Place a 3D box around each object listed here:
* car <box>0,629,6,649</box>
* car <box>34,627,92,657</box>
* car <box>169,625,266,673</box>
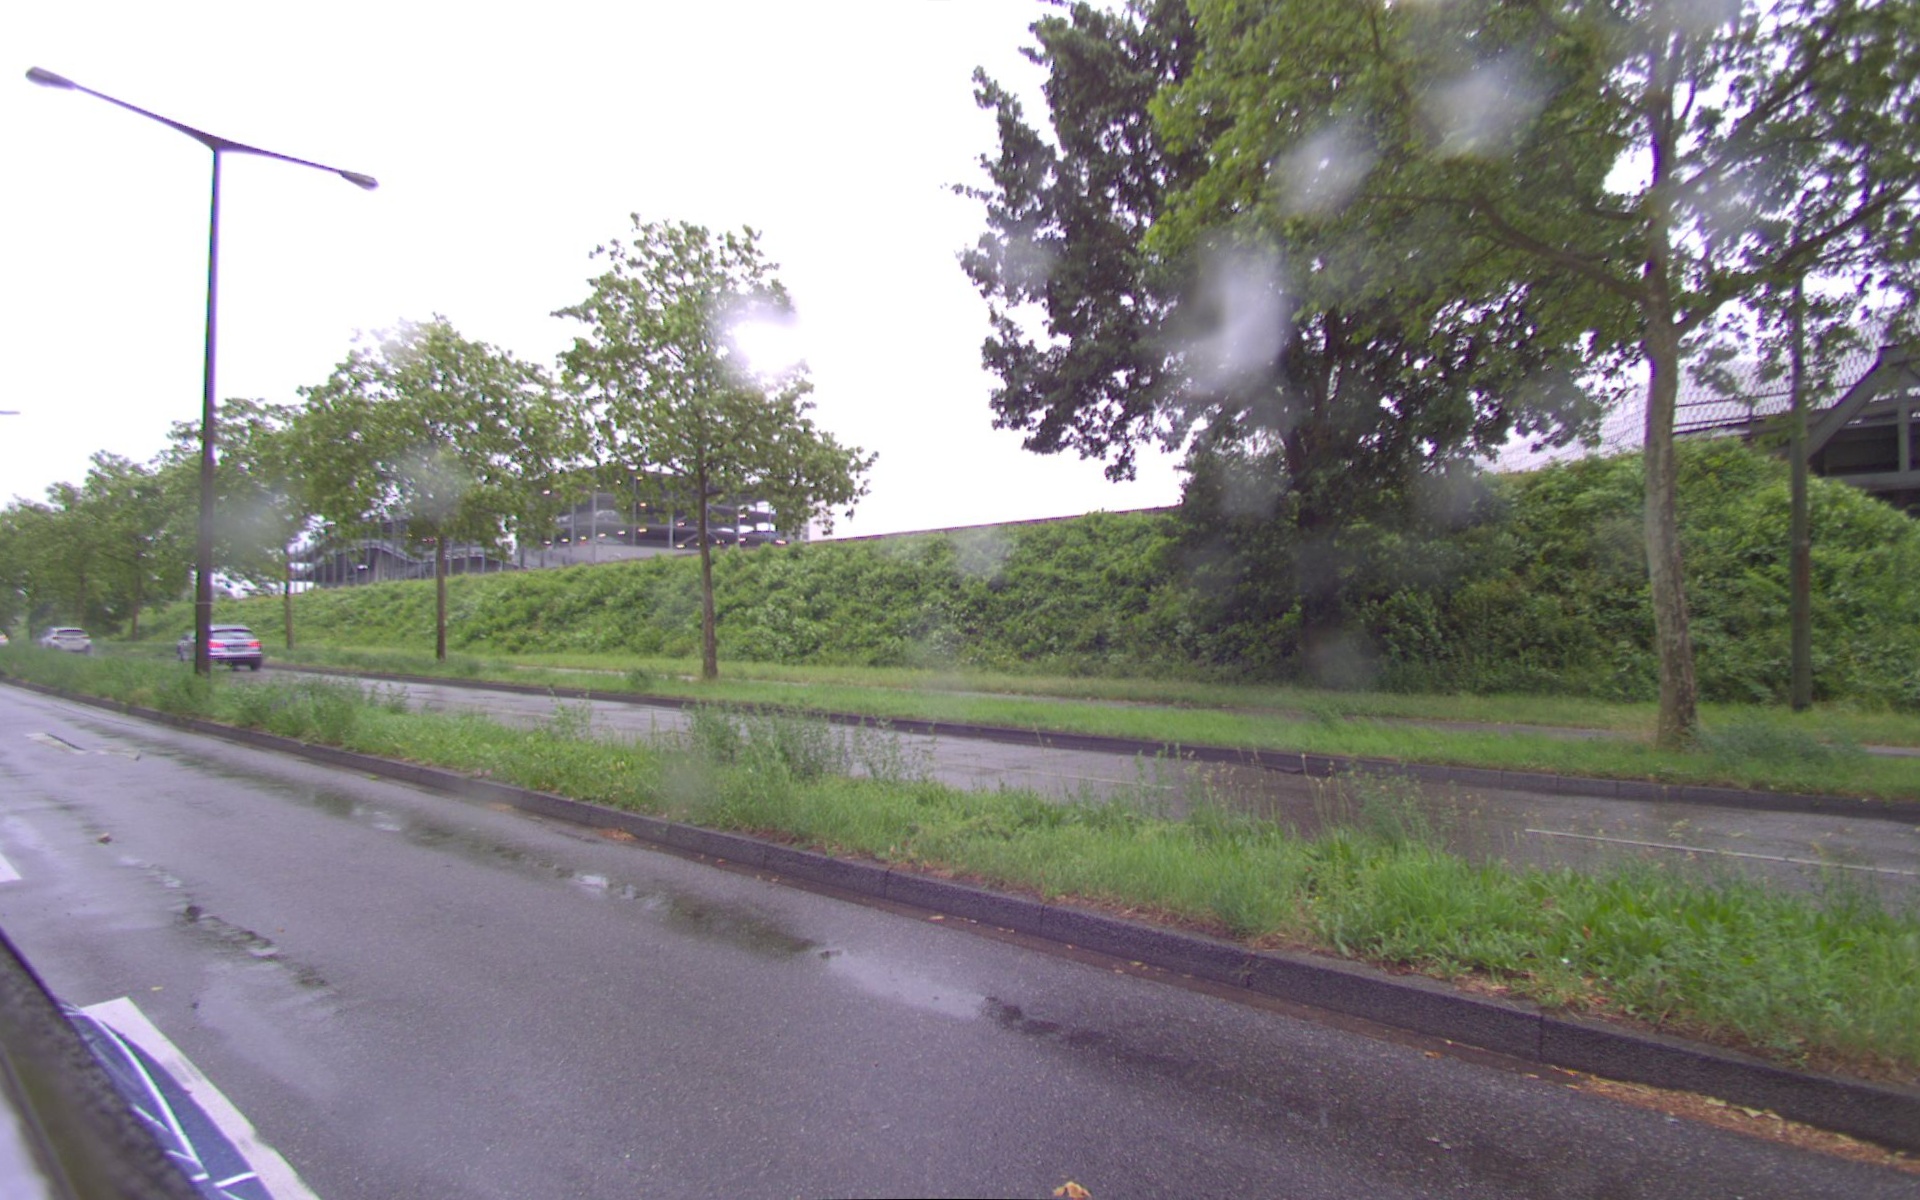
[{"bbox_3d":[-73.436,2.949,76.174,4.654,1.456,1.911,-2,-2,41],"label":"car"},{"bbox_3d":[-49.735,2.306,56.102,4.516,1.601,1.837,-2,-3,41],"label":"car"},{"bbox_3d":[-27.179,1.774,37.005,4.516,1.601,1.837,-1,-5,41],"label":"car"}]
